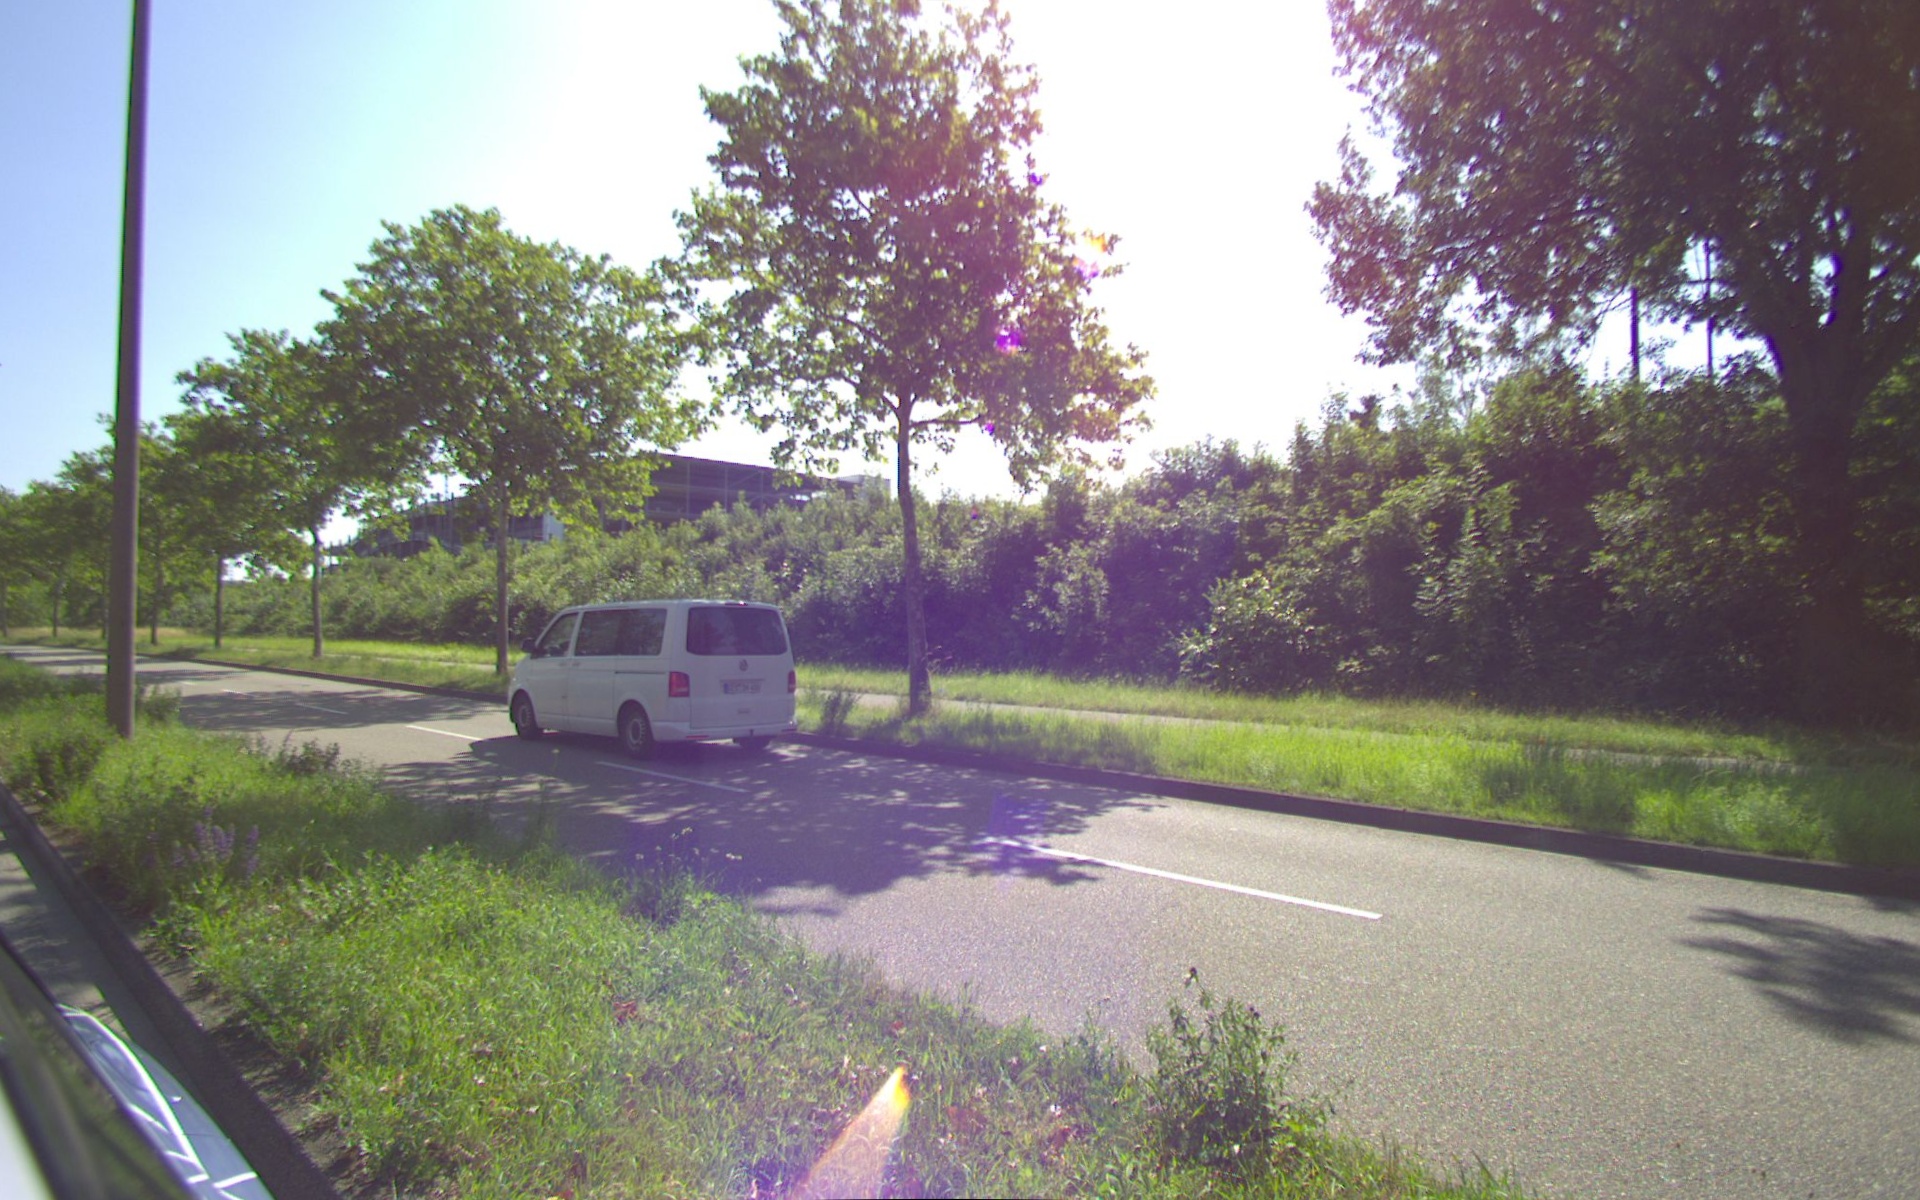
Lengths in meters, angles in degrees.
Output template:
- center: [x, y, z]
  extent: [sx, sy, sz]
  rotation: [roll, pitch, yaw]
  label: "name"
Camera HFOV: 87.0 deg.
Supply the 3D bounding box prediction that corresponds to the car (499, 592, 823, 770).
- center: [-4.039, 0.966, 13.249]
  extent: [4.574, 1.912, 1.972]
  rotation: [-1, -4, 43]
  label: "car"
